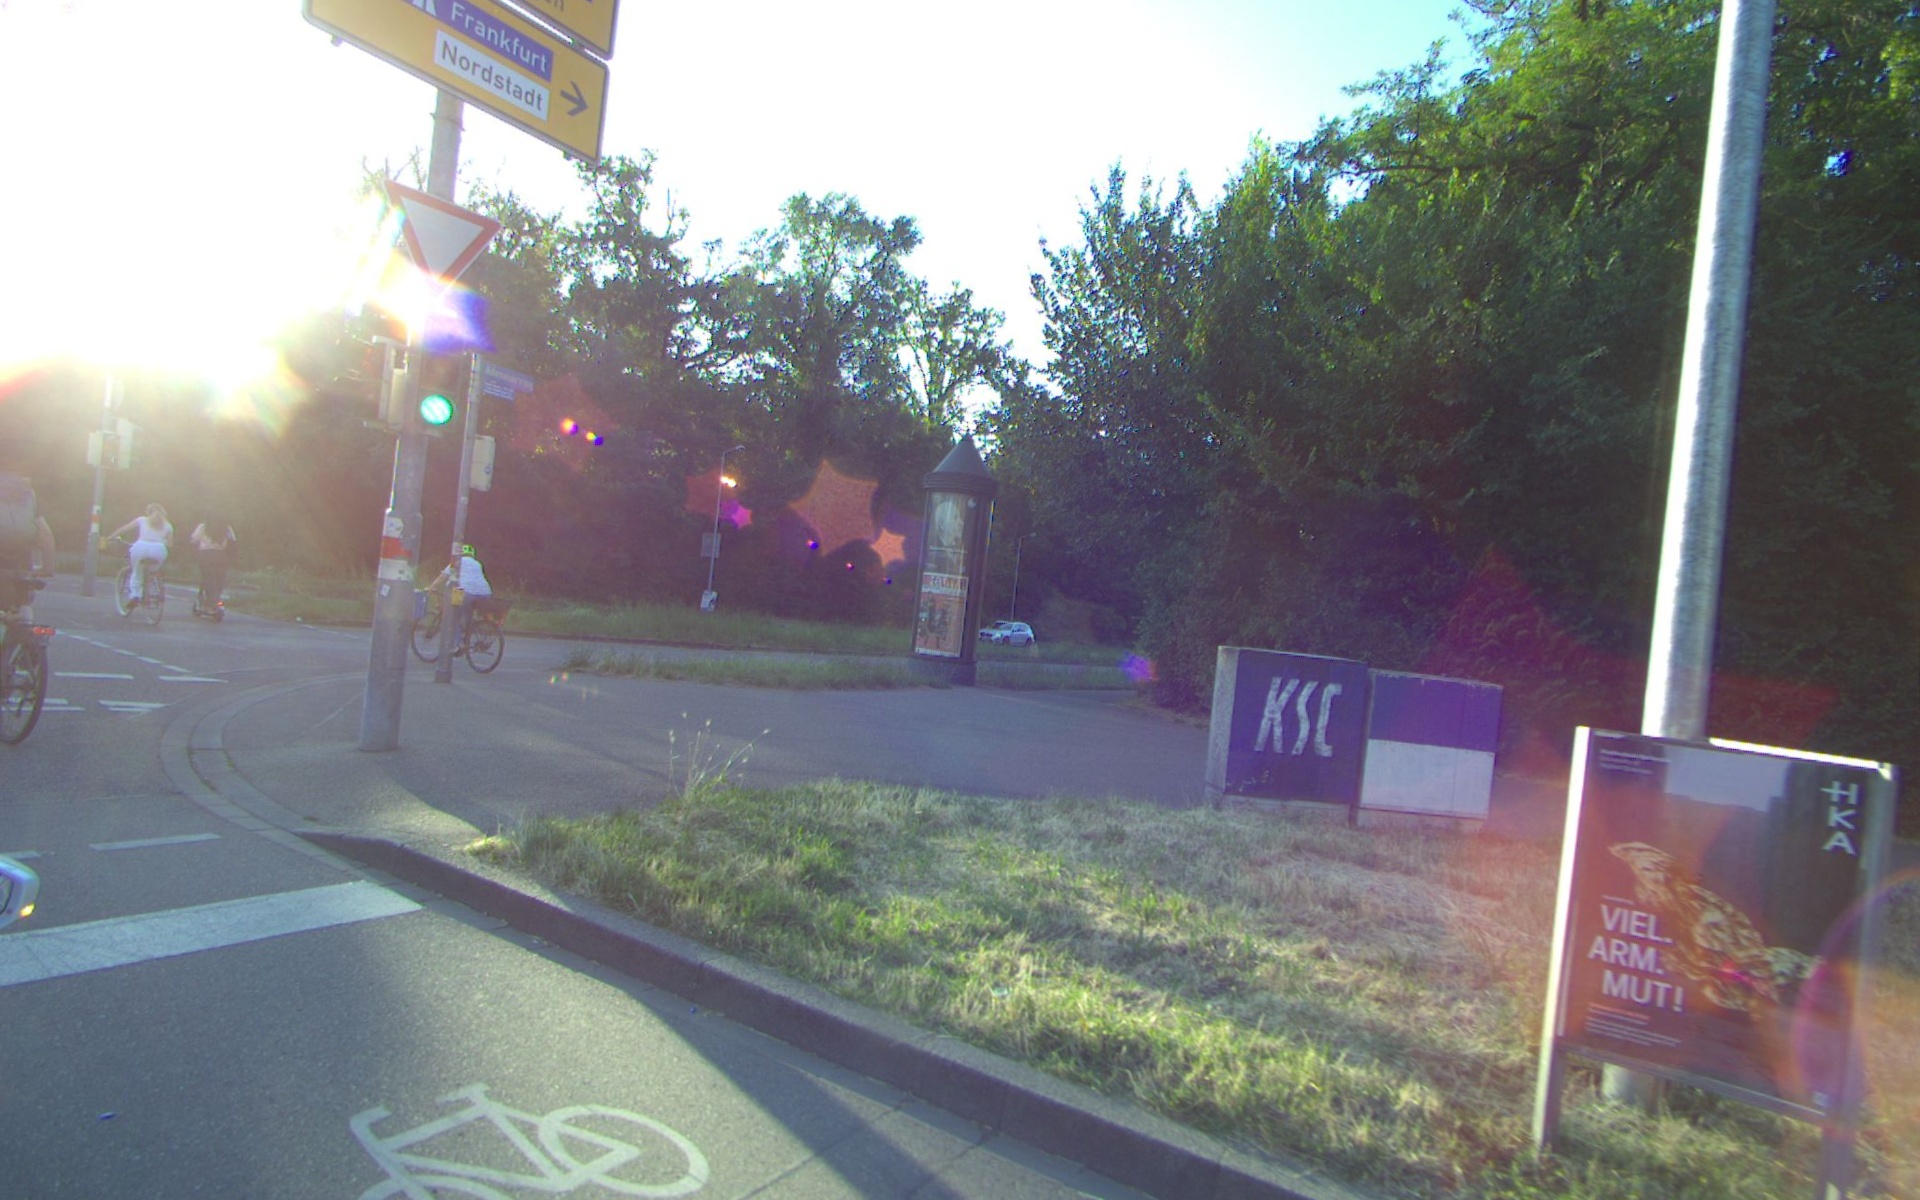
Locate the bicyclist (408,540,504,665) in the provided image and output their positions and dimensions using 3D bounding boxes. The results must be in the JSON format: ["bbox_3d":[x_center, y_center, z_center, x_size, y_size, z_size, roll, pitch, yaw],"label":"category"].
[{"bbox_3d":[-6.835,0.041,13.661,0.882,1.589,0.556,6,0,17],"label":"bicyclist"}]

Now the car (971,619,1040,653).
[{"bbox_3d":[2.731,2.135,59.089,1.799,1.632,4.630,4,-3,34],"label":"car"}]

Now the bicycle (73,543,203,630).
[{"bbox_3d":[-11.879,-0.199,14.526,1.983,1.019,0.772,6,-1,32],"label":"bicycle"}]

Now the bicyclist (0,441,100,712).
[{"bbox_3d":[-6.291,-0.168,6.554,0.785,1.686,0.699,6,-1,32],"label":"bicyclist"}]

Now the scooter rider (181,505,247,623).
[{"bbox_3d":[-11.872,-0.565,16.005,0.497,1.788,0.566,6,0,32],"label":"scooter rider"}]

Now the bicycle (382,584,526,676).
[{"bbox_3d":[-6.870,0.402,13.664,1.768,1.027,0.565,6,0,17],"label":"bicycle"}]

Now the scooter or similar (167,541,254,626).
[{"bbox_3d":[-11.953,-0.265,16.039,1.399,1.203,0.562,6,-1,33],"label":"scooter or similar"}]

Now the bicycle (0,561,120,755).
[{"bbox_3d":[-6.285,0.309,6.504,1.795,1.075,0.700,6,-1,32],"label":"bicycle"}]

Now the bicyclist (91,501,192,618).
[{"bbox_3d":[-11.801,-0.579,14.505,0.842,1.536,0.761,7,0,31],"label":"bicyclist"}]
